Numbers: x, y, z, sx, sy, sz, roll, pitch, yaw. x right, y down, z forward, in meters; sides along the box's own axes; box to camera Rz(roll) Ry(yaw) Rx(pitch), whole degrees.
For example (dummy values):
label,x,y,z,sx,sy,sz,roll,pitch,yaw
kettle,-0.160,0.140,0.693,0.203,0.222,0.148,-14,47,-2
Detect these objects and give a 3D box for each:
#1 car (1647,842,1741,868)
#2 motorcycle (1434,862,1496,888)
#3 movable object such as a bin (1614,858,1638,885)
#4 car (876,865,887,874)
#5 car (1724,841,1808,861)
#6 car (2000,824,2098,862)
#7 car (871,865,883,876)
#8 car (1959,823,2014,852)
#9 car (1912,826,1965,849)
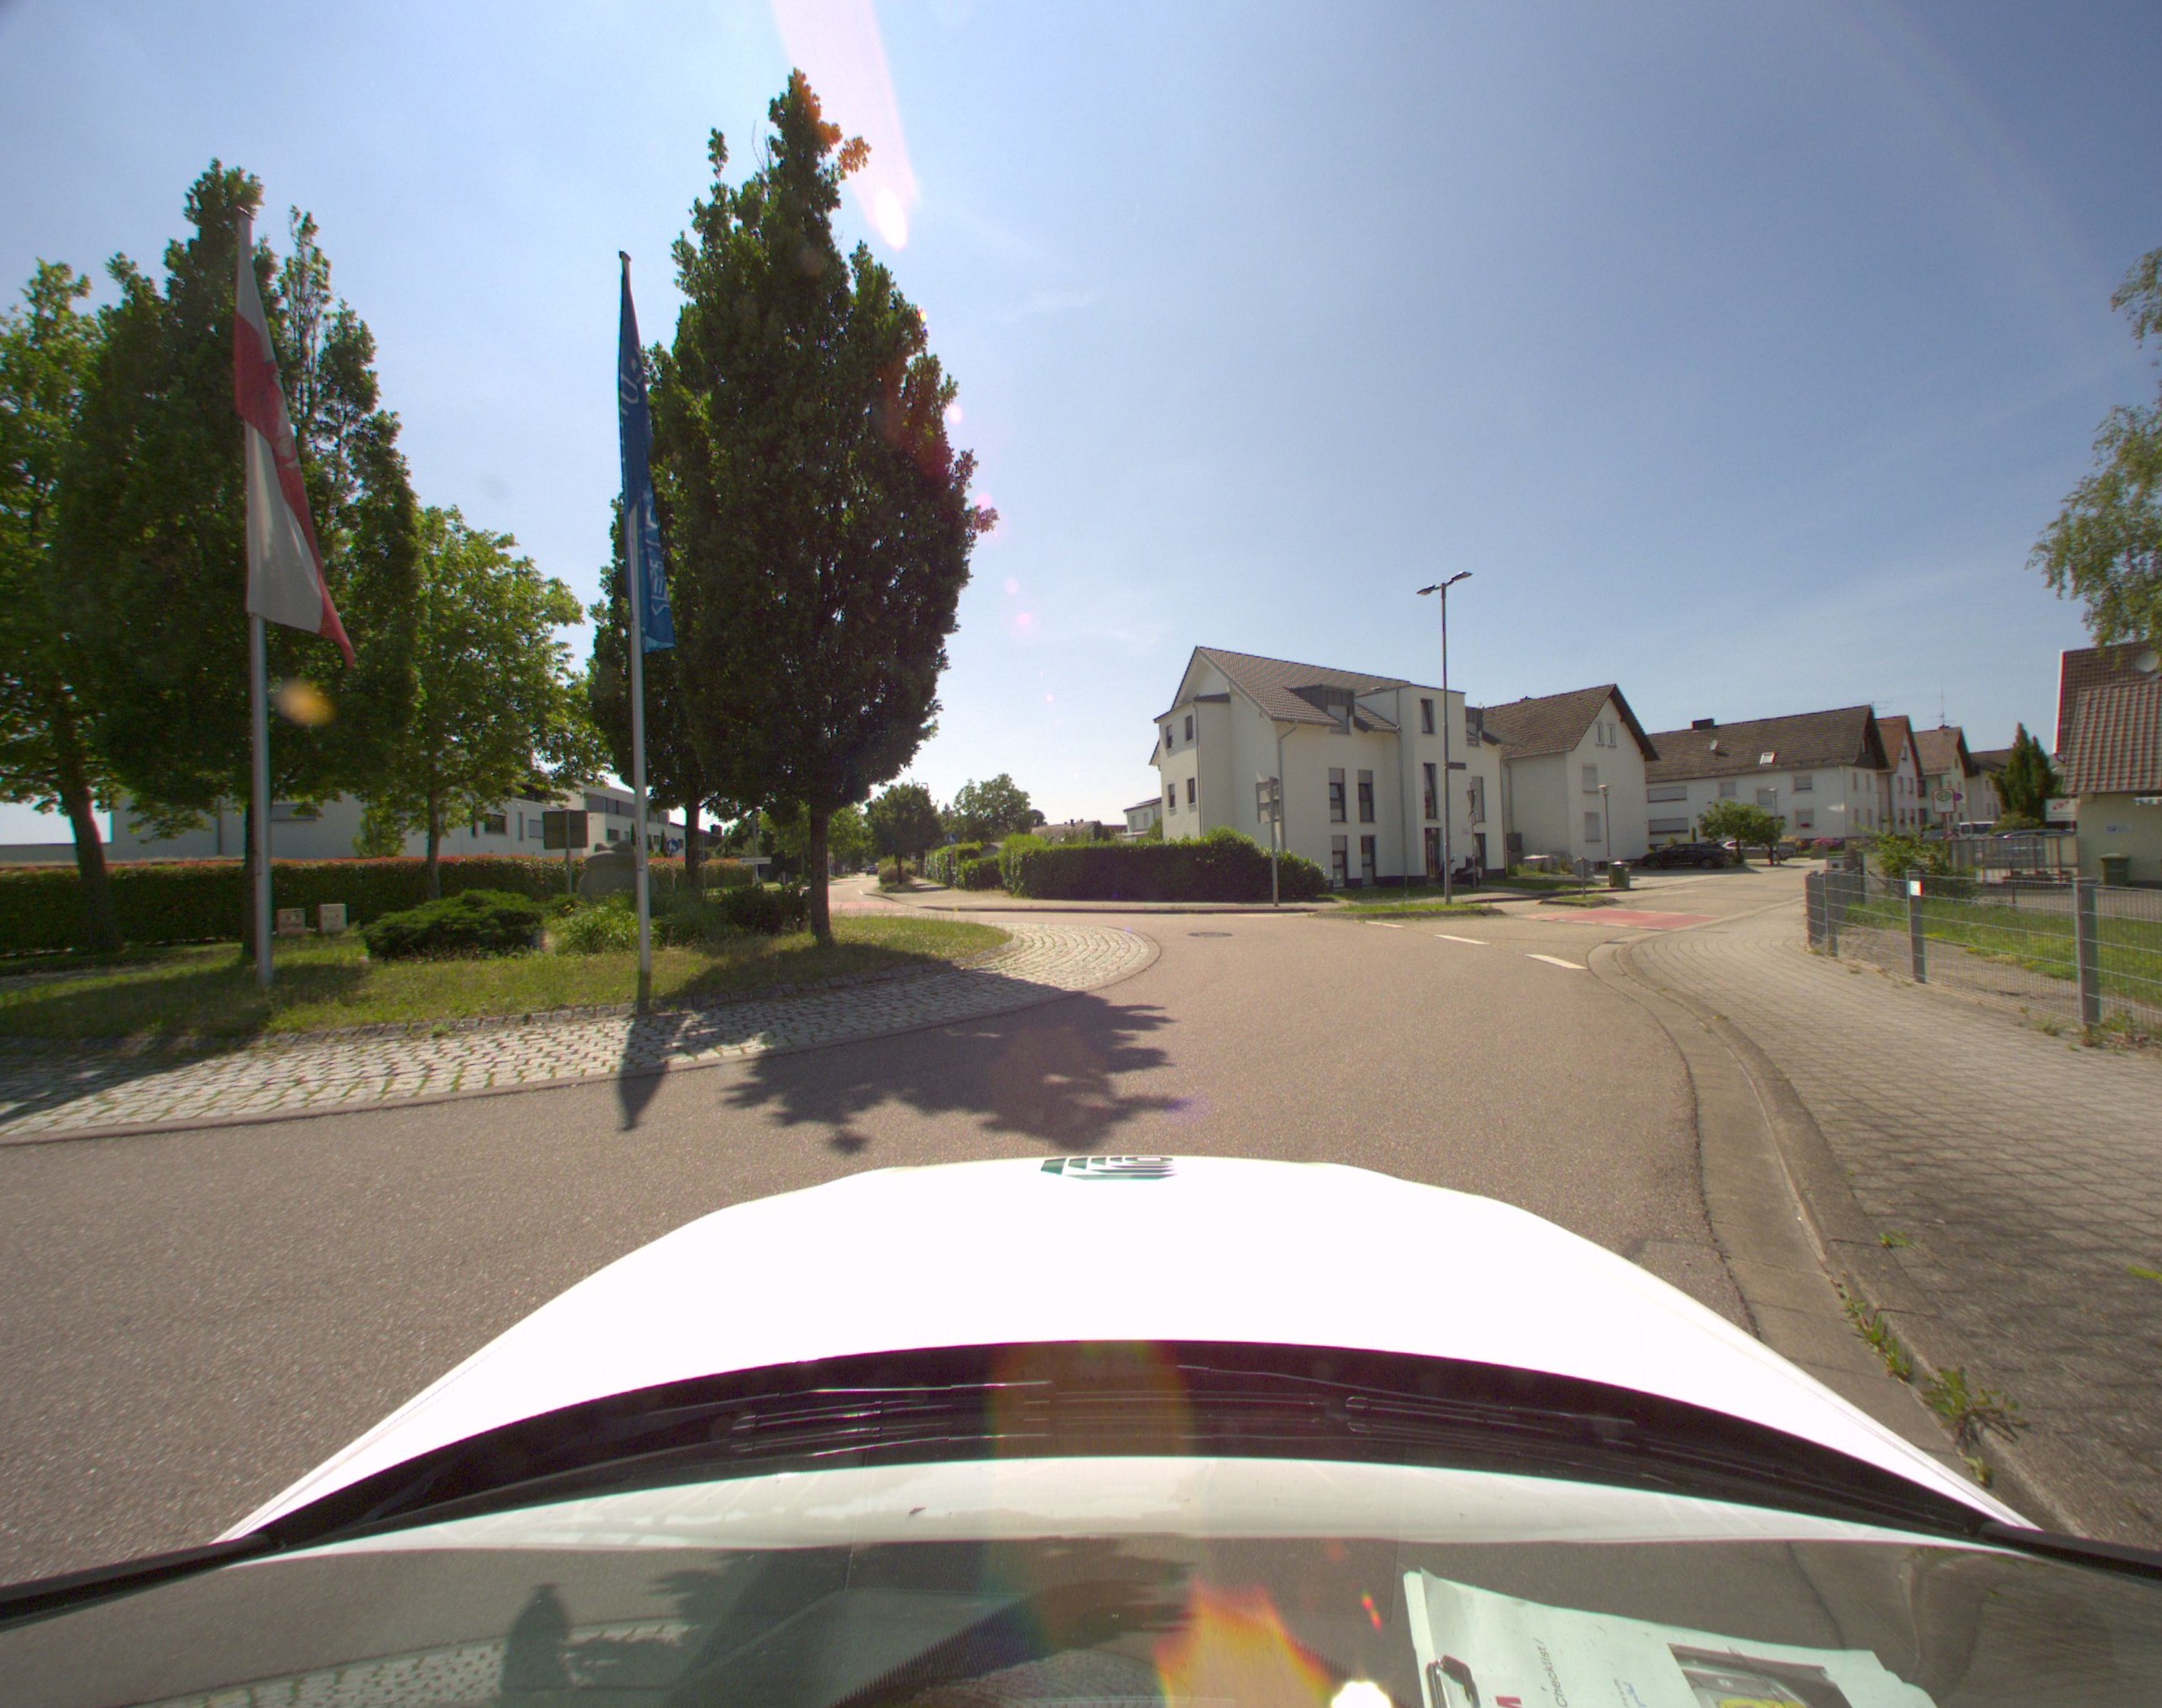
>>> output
label,x,y,z,sx,sy,sz,roll,pitch,yaw
car,34.901,0.073,46.486,1.668,1.383,3.955,-1,-1,-37
motorcycle,15.712,0.870,33.390,0.674,1.013,2.345,1,-2,-31
movable object such as a bin,22.514,0.728,33.657,0.460,1.083,0.641,-1,0,-27
car,-41.098,3.218,167.661,1.996,1.770,3.982,-1,-1,-13
car,45.476,-0.180,54.120,1.849,1.190,3.955,-2,0,-37
car,44.052,-0.475,37.090,1.176,1.598,2.724,0,-2,-34
car,-35.489,2.919,141.937,1.926,1.886,3.980,-1,-1,-14
car,59.316,-1.069,53.329,4.016,1.787,1.837,0,-2,-35
car,62.345,-1.220,59.172,4.016,1.553,1.979,-2,0,-34
